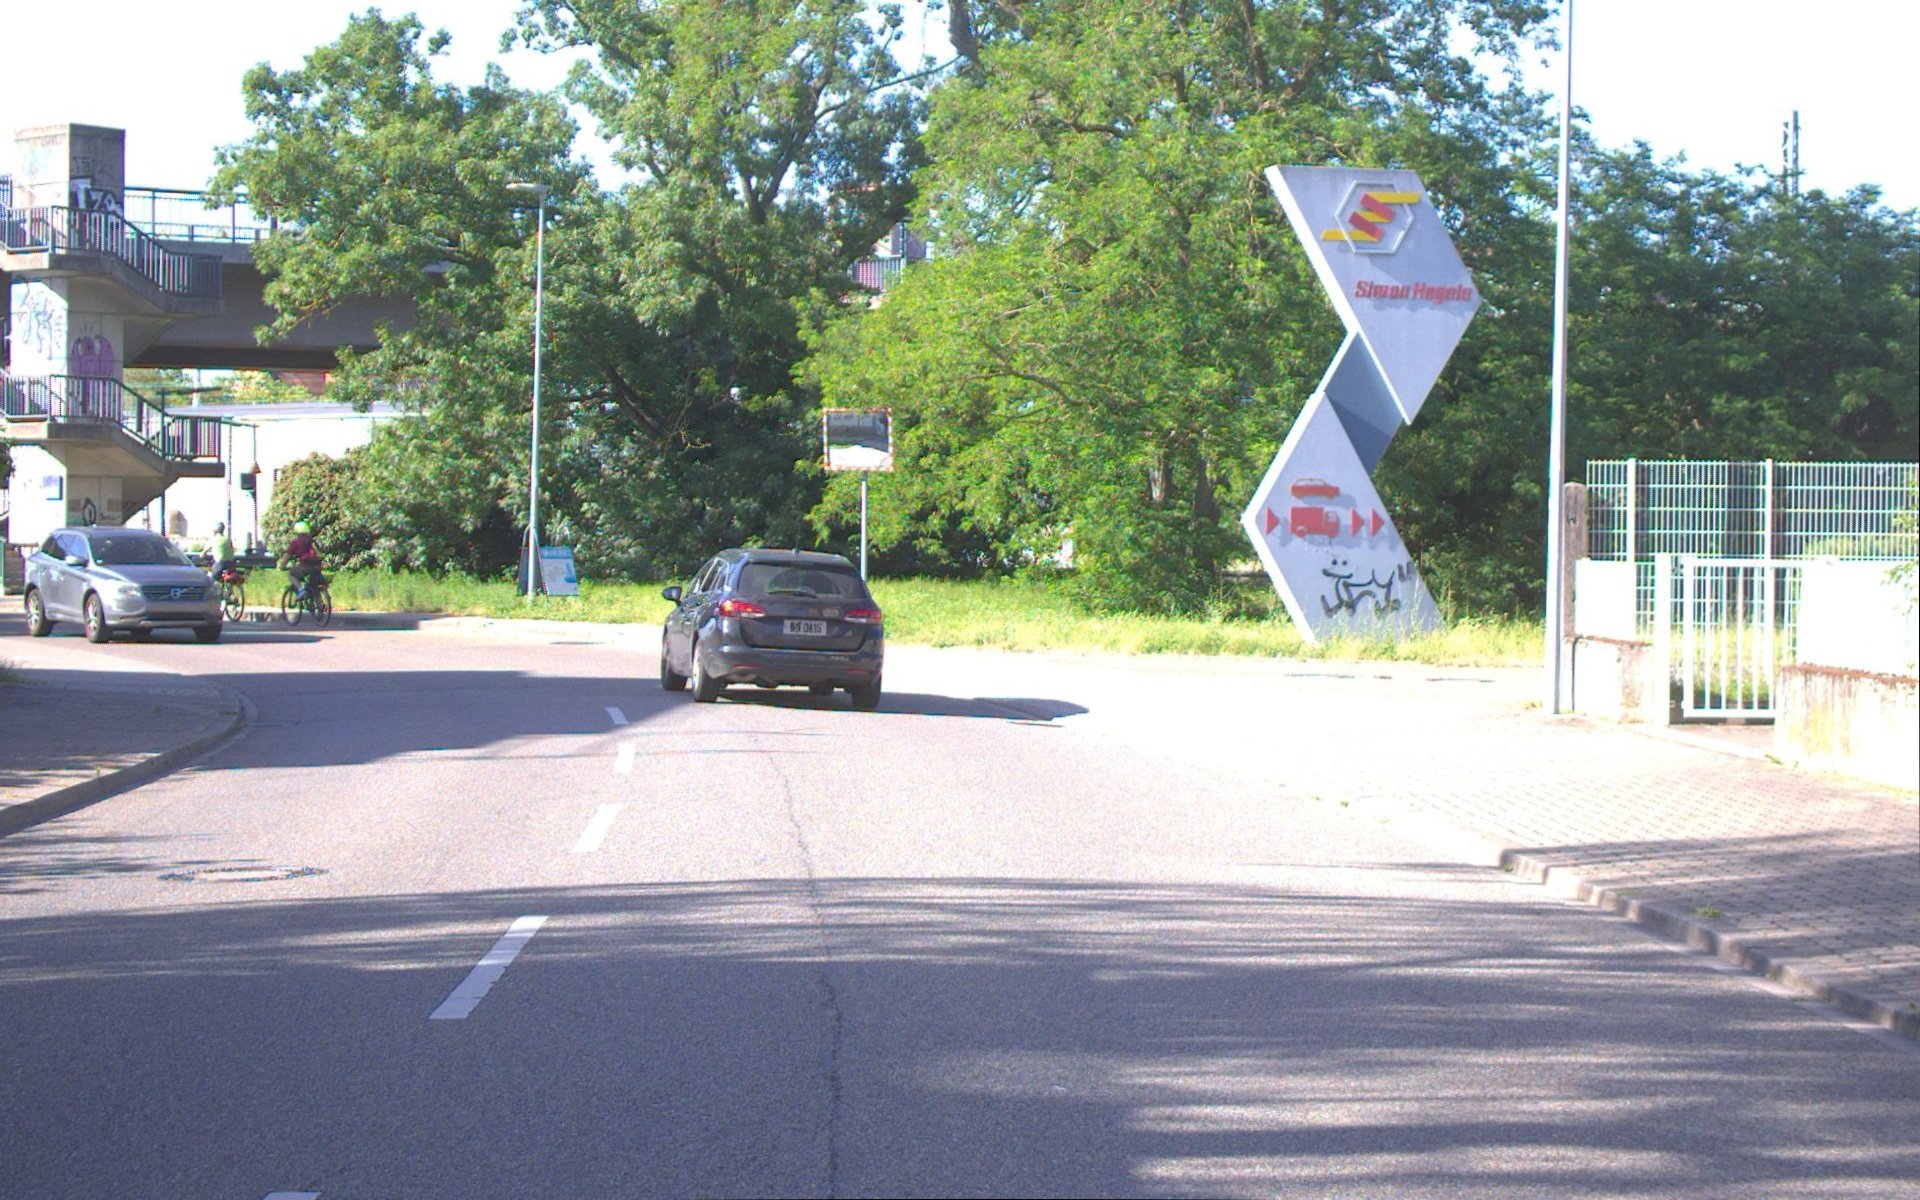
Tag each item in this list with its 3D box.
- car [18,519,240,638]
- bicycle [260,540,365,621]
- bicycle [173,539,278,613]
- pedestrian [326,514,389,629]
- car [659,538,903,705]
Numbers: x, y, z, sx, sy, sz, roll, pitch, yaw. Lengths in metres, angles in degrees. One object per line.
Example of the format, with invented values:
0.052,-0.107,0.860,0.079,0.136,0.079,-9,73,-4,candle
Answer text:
-12.351,-0.357,50.921,1.993,1.681,4.205,0,1,-31,car
-10.830,-0.330,57.452,0.803,1.263,2.258,2,0,-36,bicycle
-12.950,-0.425,60.590,0.804,1.217,2.258,2,0,-40,bicycle
-9.803,-0.459,55.942,0.657,1.828,0.794,2,0,-37,pedestrian
-1.814,0.164,33.613,1.846,1.525,4.001,0,1,-11,car
